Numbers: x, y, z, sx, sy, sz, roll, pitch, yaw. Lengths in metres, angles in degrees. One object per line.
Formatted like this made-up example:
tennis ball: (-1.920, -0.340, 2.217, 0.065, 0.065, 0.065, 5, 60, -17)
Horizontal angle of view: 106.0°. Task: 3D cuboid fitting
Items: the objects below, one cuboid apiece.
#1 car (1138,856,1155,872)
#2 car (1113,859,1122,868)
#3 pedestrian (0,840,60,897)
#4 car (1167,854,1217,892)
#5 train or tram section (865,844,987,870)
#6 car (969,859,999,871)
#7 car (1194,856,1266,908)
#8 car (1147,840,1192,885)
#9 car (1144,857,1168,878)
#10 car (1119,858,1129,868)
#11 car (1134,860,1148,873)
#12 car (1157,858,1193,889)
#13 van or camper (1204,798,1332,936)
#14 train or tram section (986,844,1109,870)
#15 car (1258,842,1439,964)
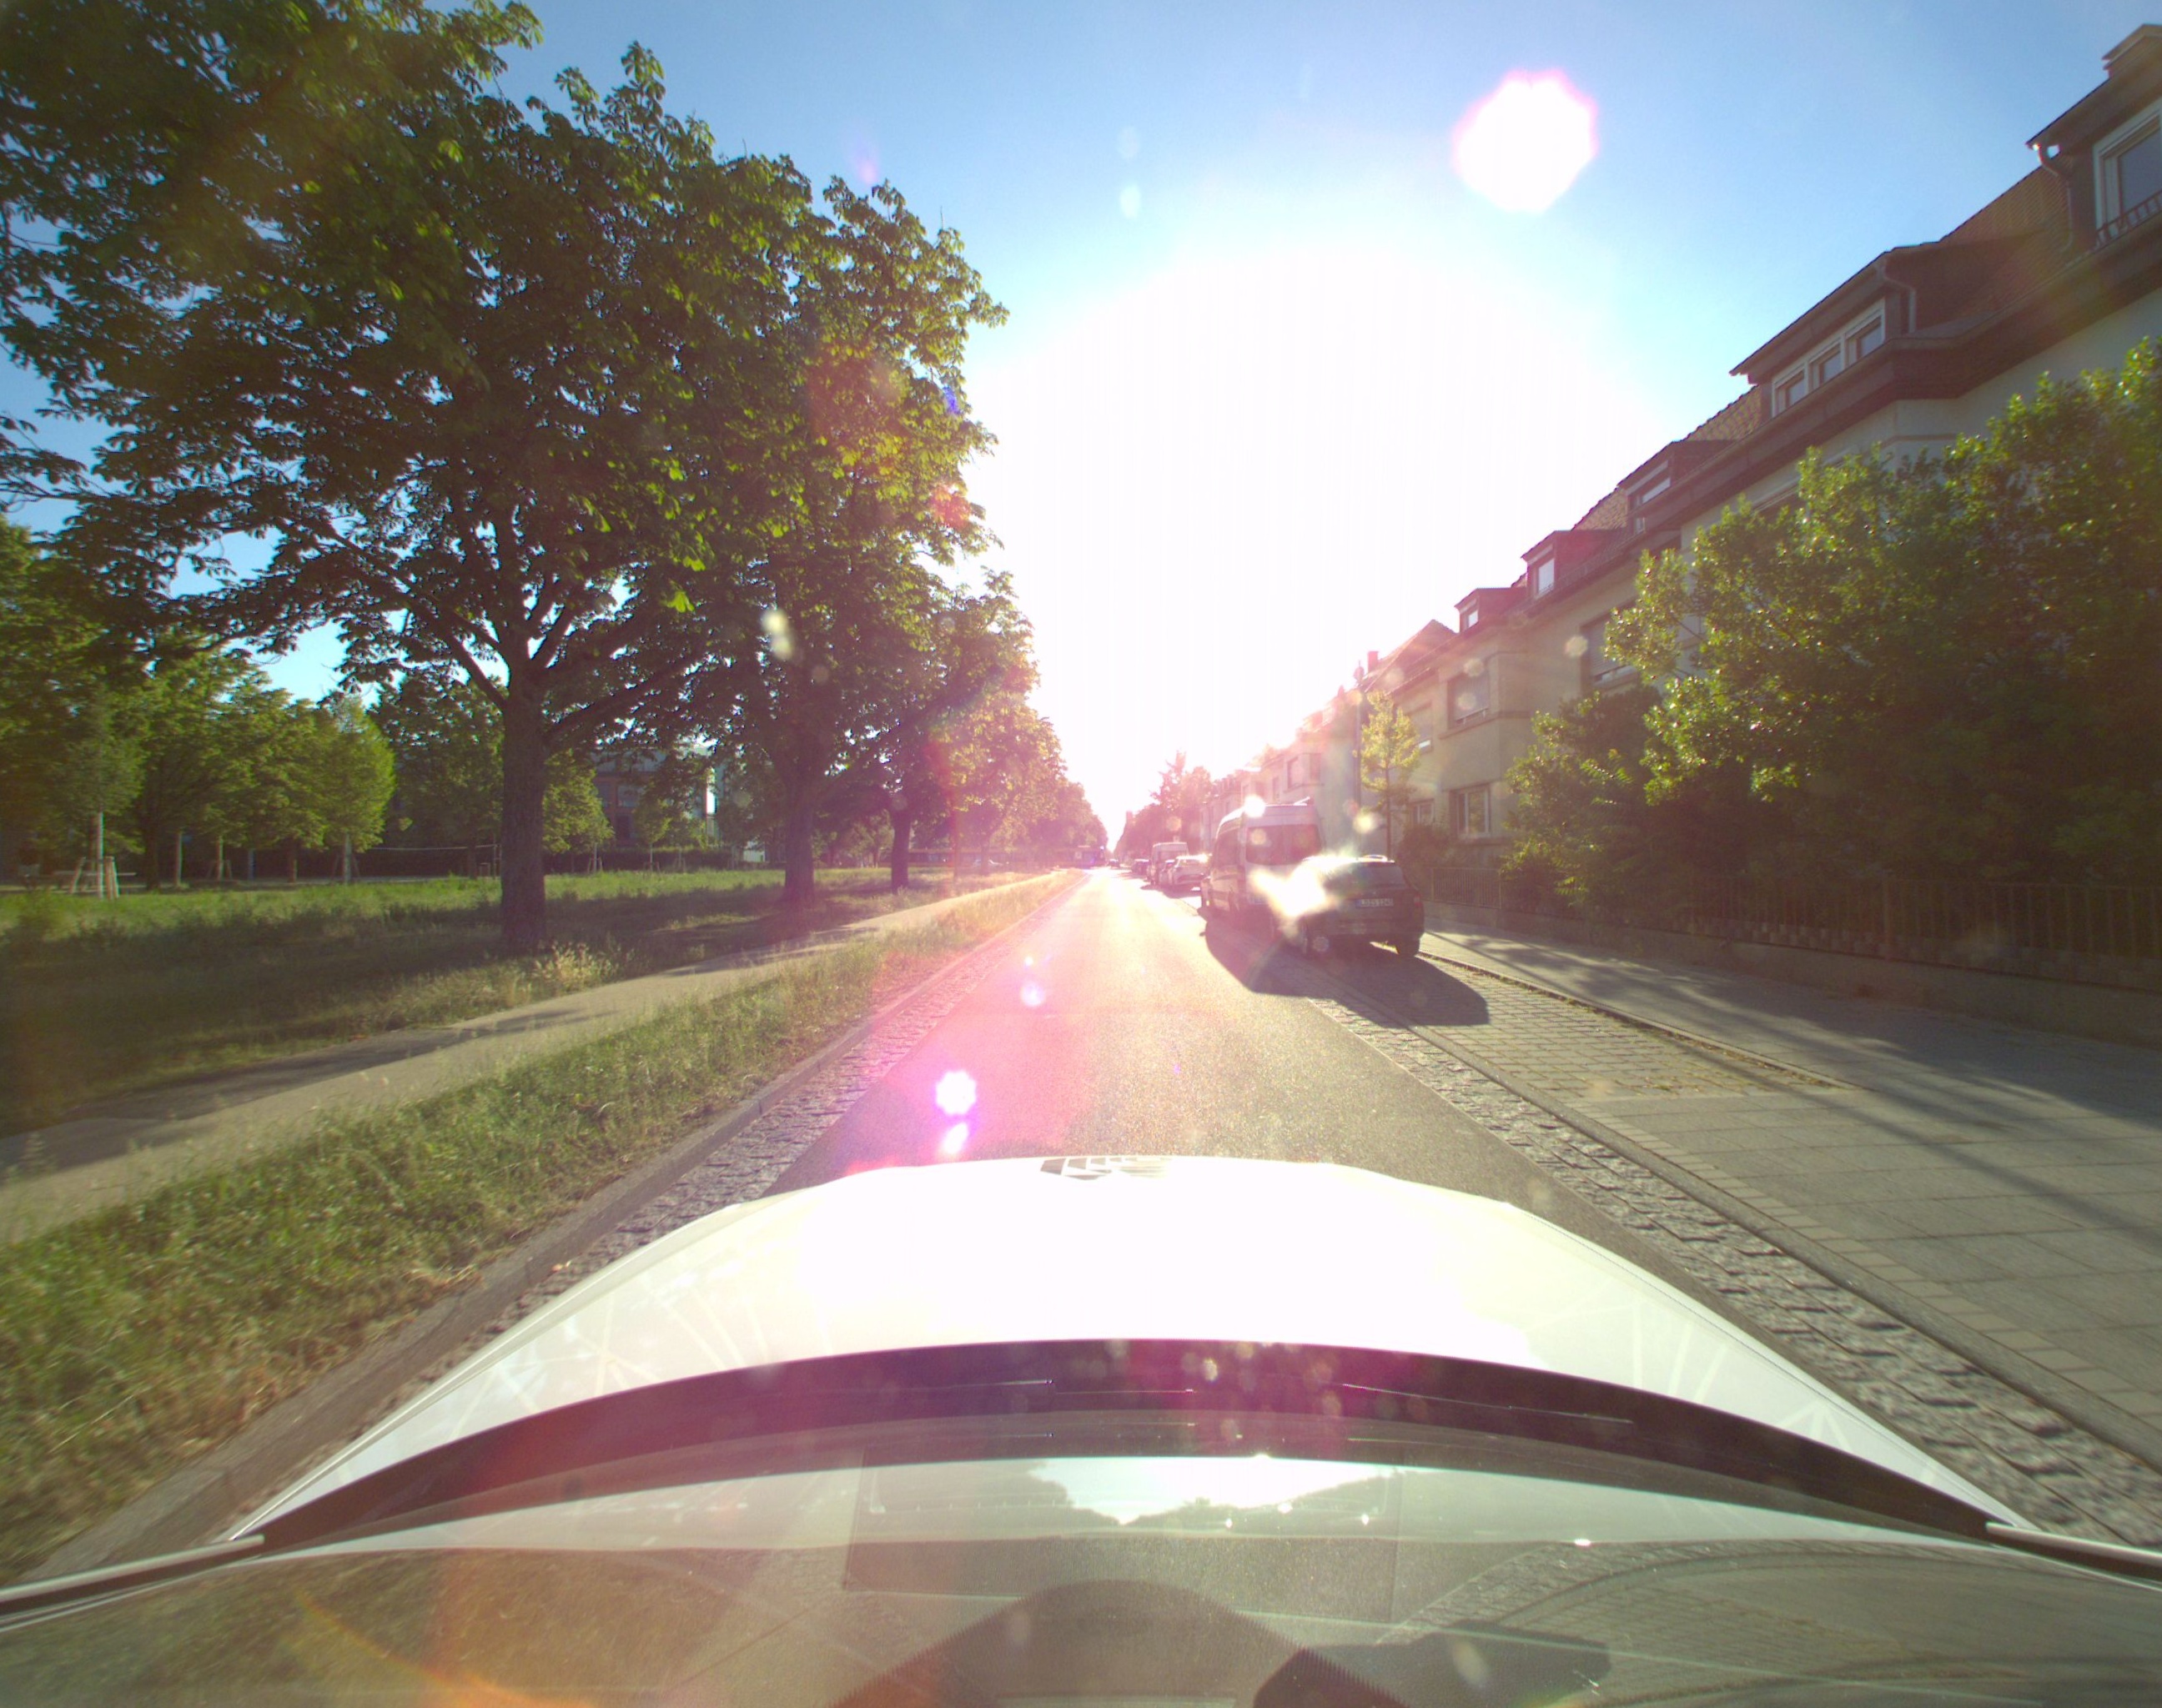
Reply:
car: (6.542, 1.010, 81.477, 1.643, 1.530, 3.854, -2, 0, 3)
car: (6.949, 1.821, 155.832, 1.643, 1.530, 3.854, -2, 0, 3)
pedestrian: (-35.476, 0.493, 27.474, 1.044, 1.881, 0.798, 1, -1, 4)
car: (5.156, 0.863, 38.311, 1.831, 1.636, 4.131, -2, 0, 1)
train or tram section: (-24.845, 0.572, 131.561, 19.037, 3.956, 3.638, 1, -1, -5)
car: (-14.679, 1.713, 123.292, 4.341, 1.764, 1.995, 1, -1, -7)
car: (4.589, 0.844, 25.613, 1.615, 1.411, 3.971, -4, -1, 2)
car: (5.344, 0.517, 49.746, 2.119, 2.533, 5.188, -2, 0, 0)
car: (5.745, 1.016, 62.381, 1.643, 1.530, 3.854, -2, 0, 3)
car: (7.327, 1.528, 137.362, 1.643, 1.530, 3.854, -2, 0, 3)
car: (7.241, 1.524, 98.557, 1.643, 1.530, 3.854, -2, 0, 3)
car: (4.970, 0.983, 43.420, 1.643, 1.530, 3.854, -2, 0, 3)
van or camper: (4.250, 0.314, 19.520, 1.936, 2.778, 5.942, 1, -1, 2)
train or tram section: (-5.471, 0.567, 133.091, 19.741, 3.956, 3.638, 1, -1, -4)
car: (4.109, 0.688, 13.204, 1.657, 1.593, 4.088, -3, -1, 2)
